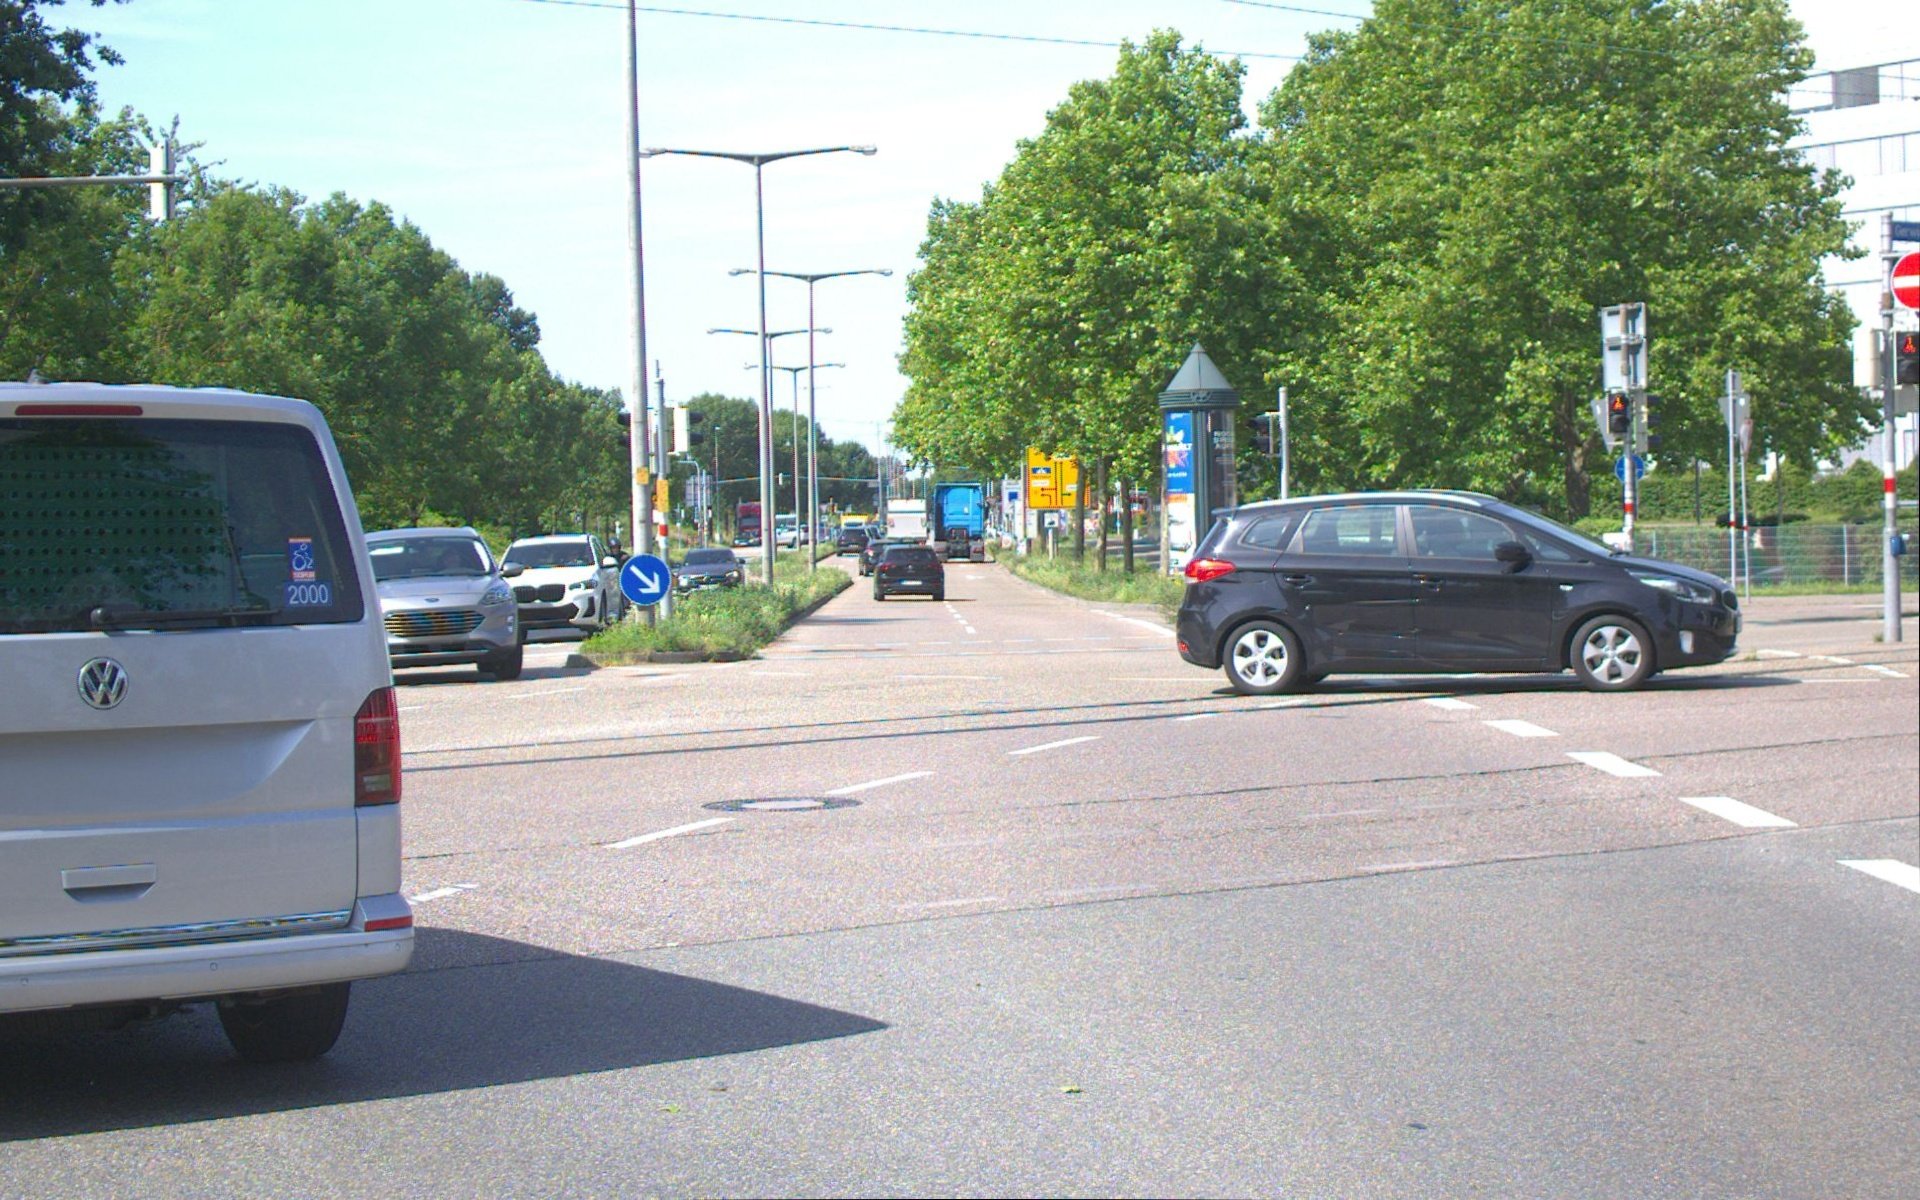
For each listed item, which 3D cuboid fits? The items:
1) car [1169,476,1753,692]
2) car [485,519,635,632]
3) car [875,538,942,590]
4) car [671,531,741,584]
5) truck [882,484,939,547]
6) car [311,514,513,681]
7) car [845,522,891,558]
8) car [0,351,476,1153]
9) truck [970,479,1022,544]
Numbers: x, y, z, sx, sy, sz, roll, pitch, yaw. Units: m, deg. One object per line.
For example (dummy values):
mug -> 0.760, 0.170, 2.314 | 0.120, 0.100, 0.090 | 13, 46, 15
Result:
car -> 4.051, -0.130, 27.713 | 4.368, 1.600, 1.813 | -1, 1, 19
car -> -6.320, -0.422, 54.709 | 1.909, 1.683, 4.627 | -2, 1, -1
car -> -1.298, -0.934, 87.508 | 1.643, 1.232, 3.253 | -2, 1, 0
car -> -7.169, -1.223, 97.400 | 1.714, 1.374, 4.473 | -3, 1, -1
truck -> -2.864, -4.959, 202.223 | 2.841, 3.565, 8.719 | -1, 1, 2
car -> -5.944, -0.071, 37.582 | 1.990, 1.645, 4.657 | -2, 1, -8
car -> -3.679, -2.413, 137.757 | 1.749, 1.340, 4.378 | -2, 1, 0
car -> -3.397, 0.343, 10.716 | 1.941, 1.965, 5.022 | -1, 1, -31
truck -> 2.594, -6.171, 240.408 | 3.191, 4.340, 13.147 | -1, 1, 2
